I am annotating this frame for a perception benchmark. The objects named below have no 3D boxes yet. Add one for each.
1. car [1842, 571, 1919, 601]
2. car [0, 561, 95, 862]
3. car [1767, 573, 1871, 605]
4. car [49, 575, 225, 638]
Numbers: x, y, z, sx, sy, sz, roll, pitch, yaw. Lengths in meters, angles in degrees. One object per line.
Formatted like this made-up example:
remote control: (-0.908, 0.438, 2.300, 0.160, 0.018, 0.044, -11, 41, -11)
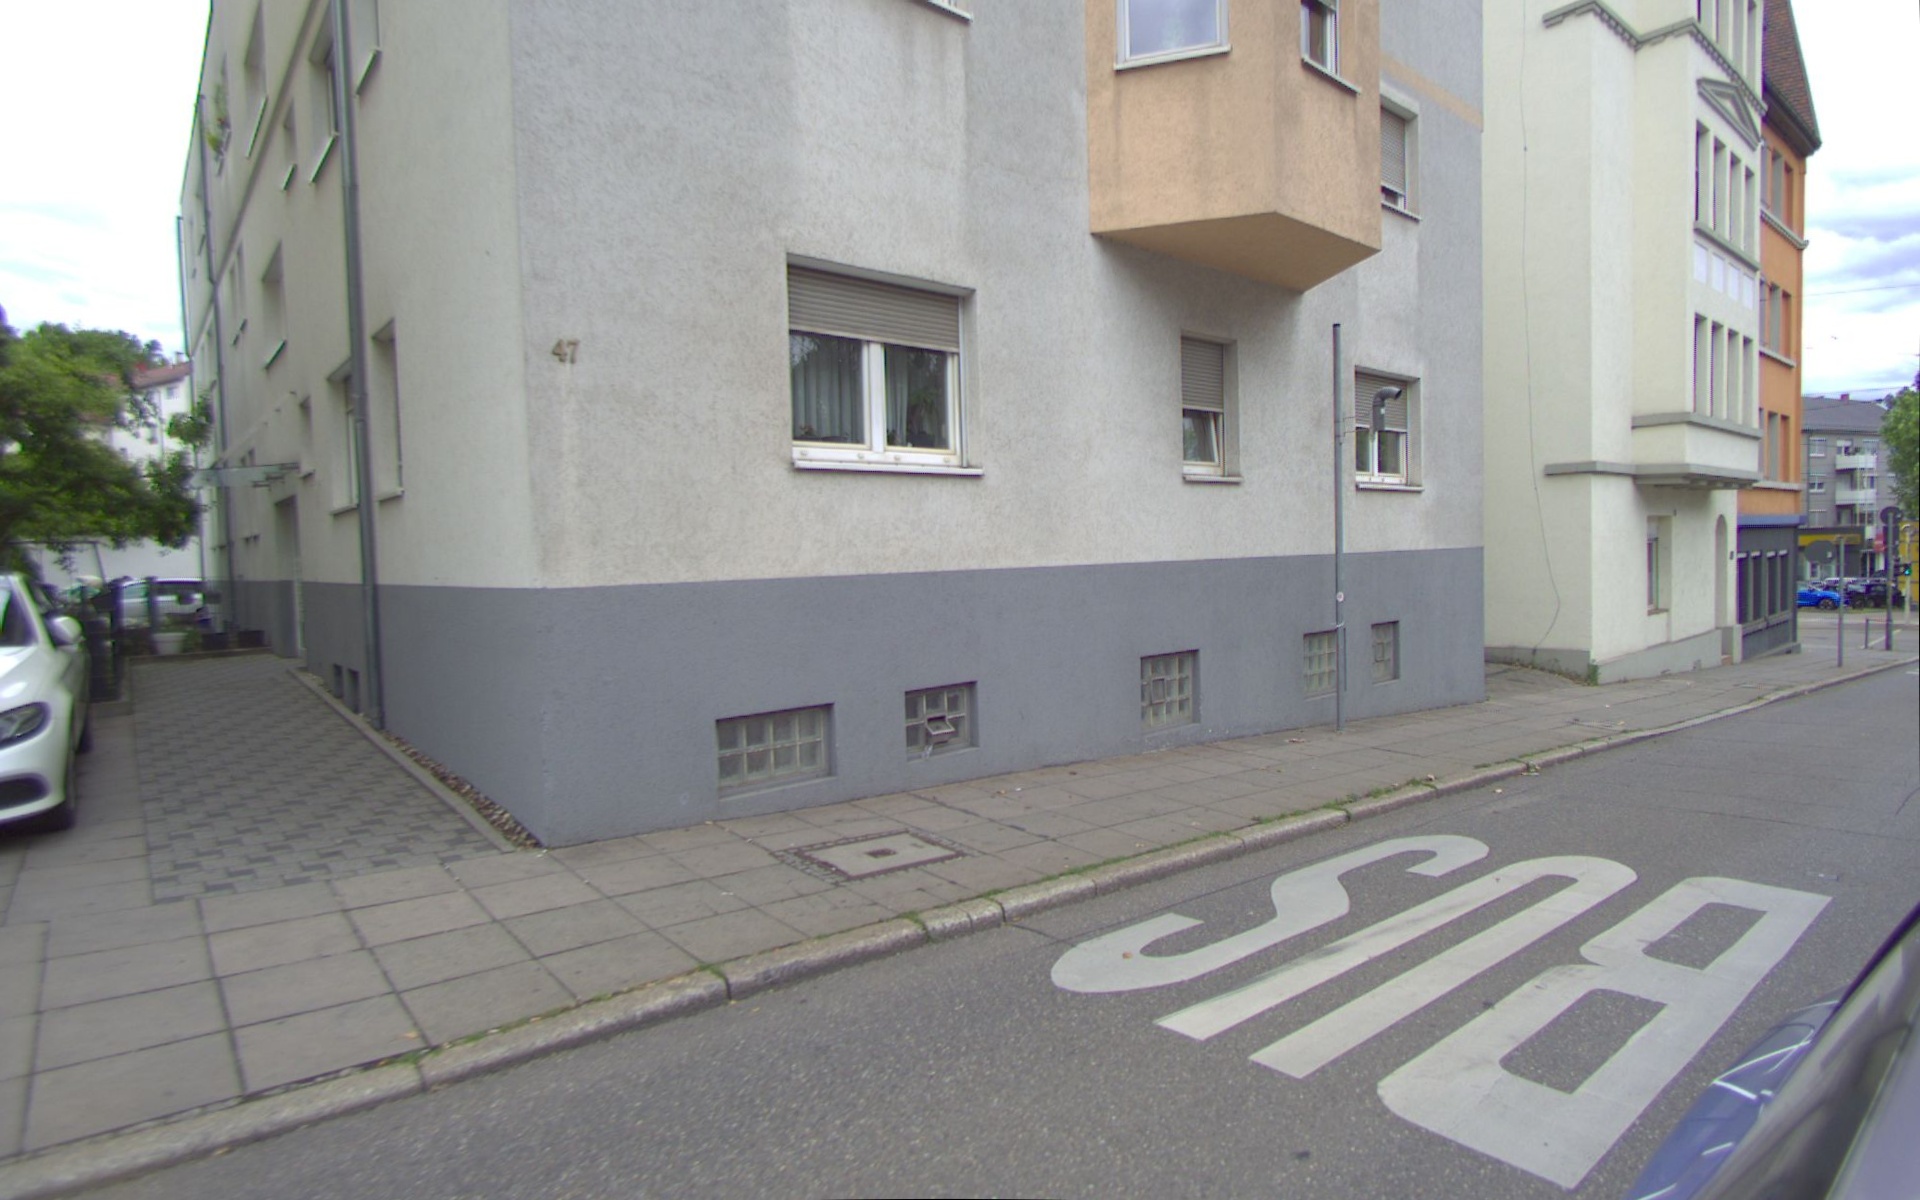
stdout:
car: (58.172, -0.880, 63.488, 4.084, 1.625, 1.835, 2, 7, -7)
car: (-6.512, 0.503, 6.131, 1.852, 1.441, 3.996, 0, 2, -40)
car: (49.547, -0.658, 58.422, 1.796, 1.596, 4.257, 0, 3, -39)
car: (-21.721, 0.142, 26.786, 3.522, 1.546, 1.674, 0, 1, -42)
